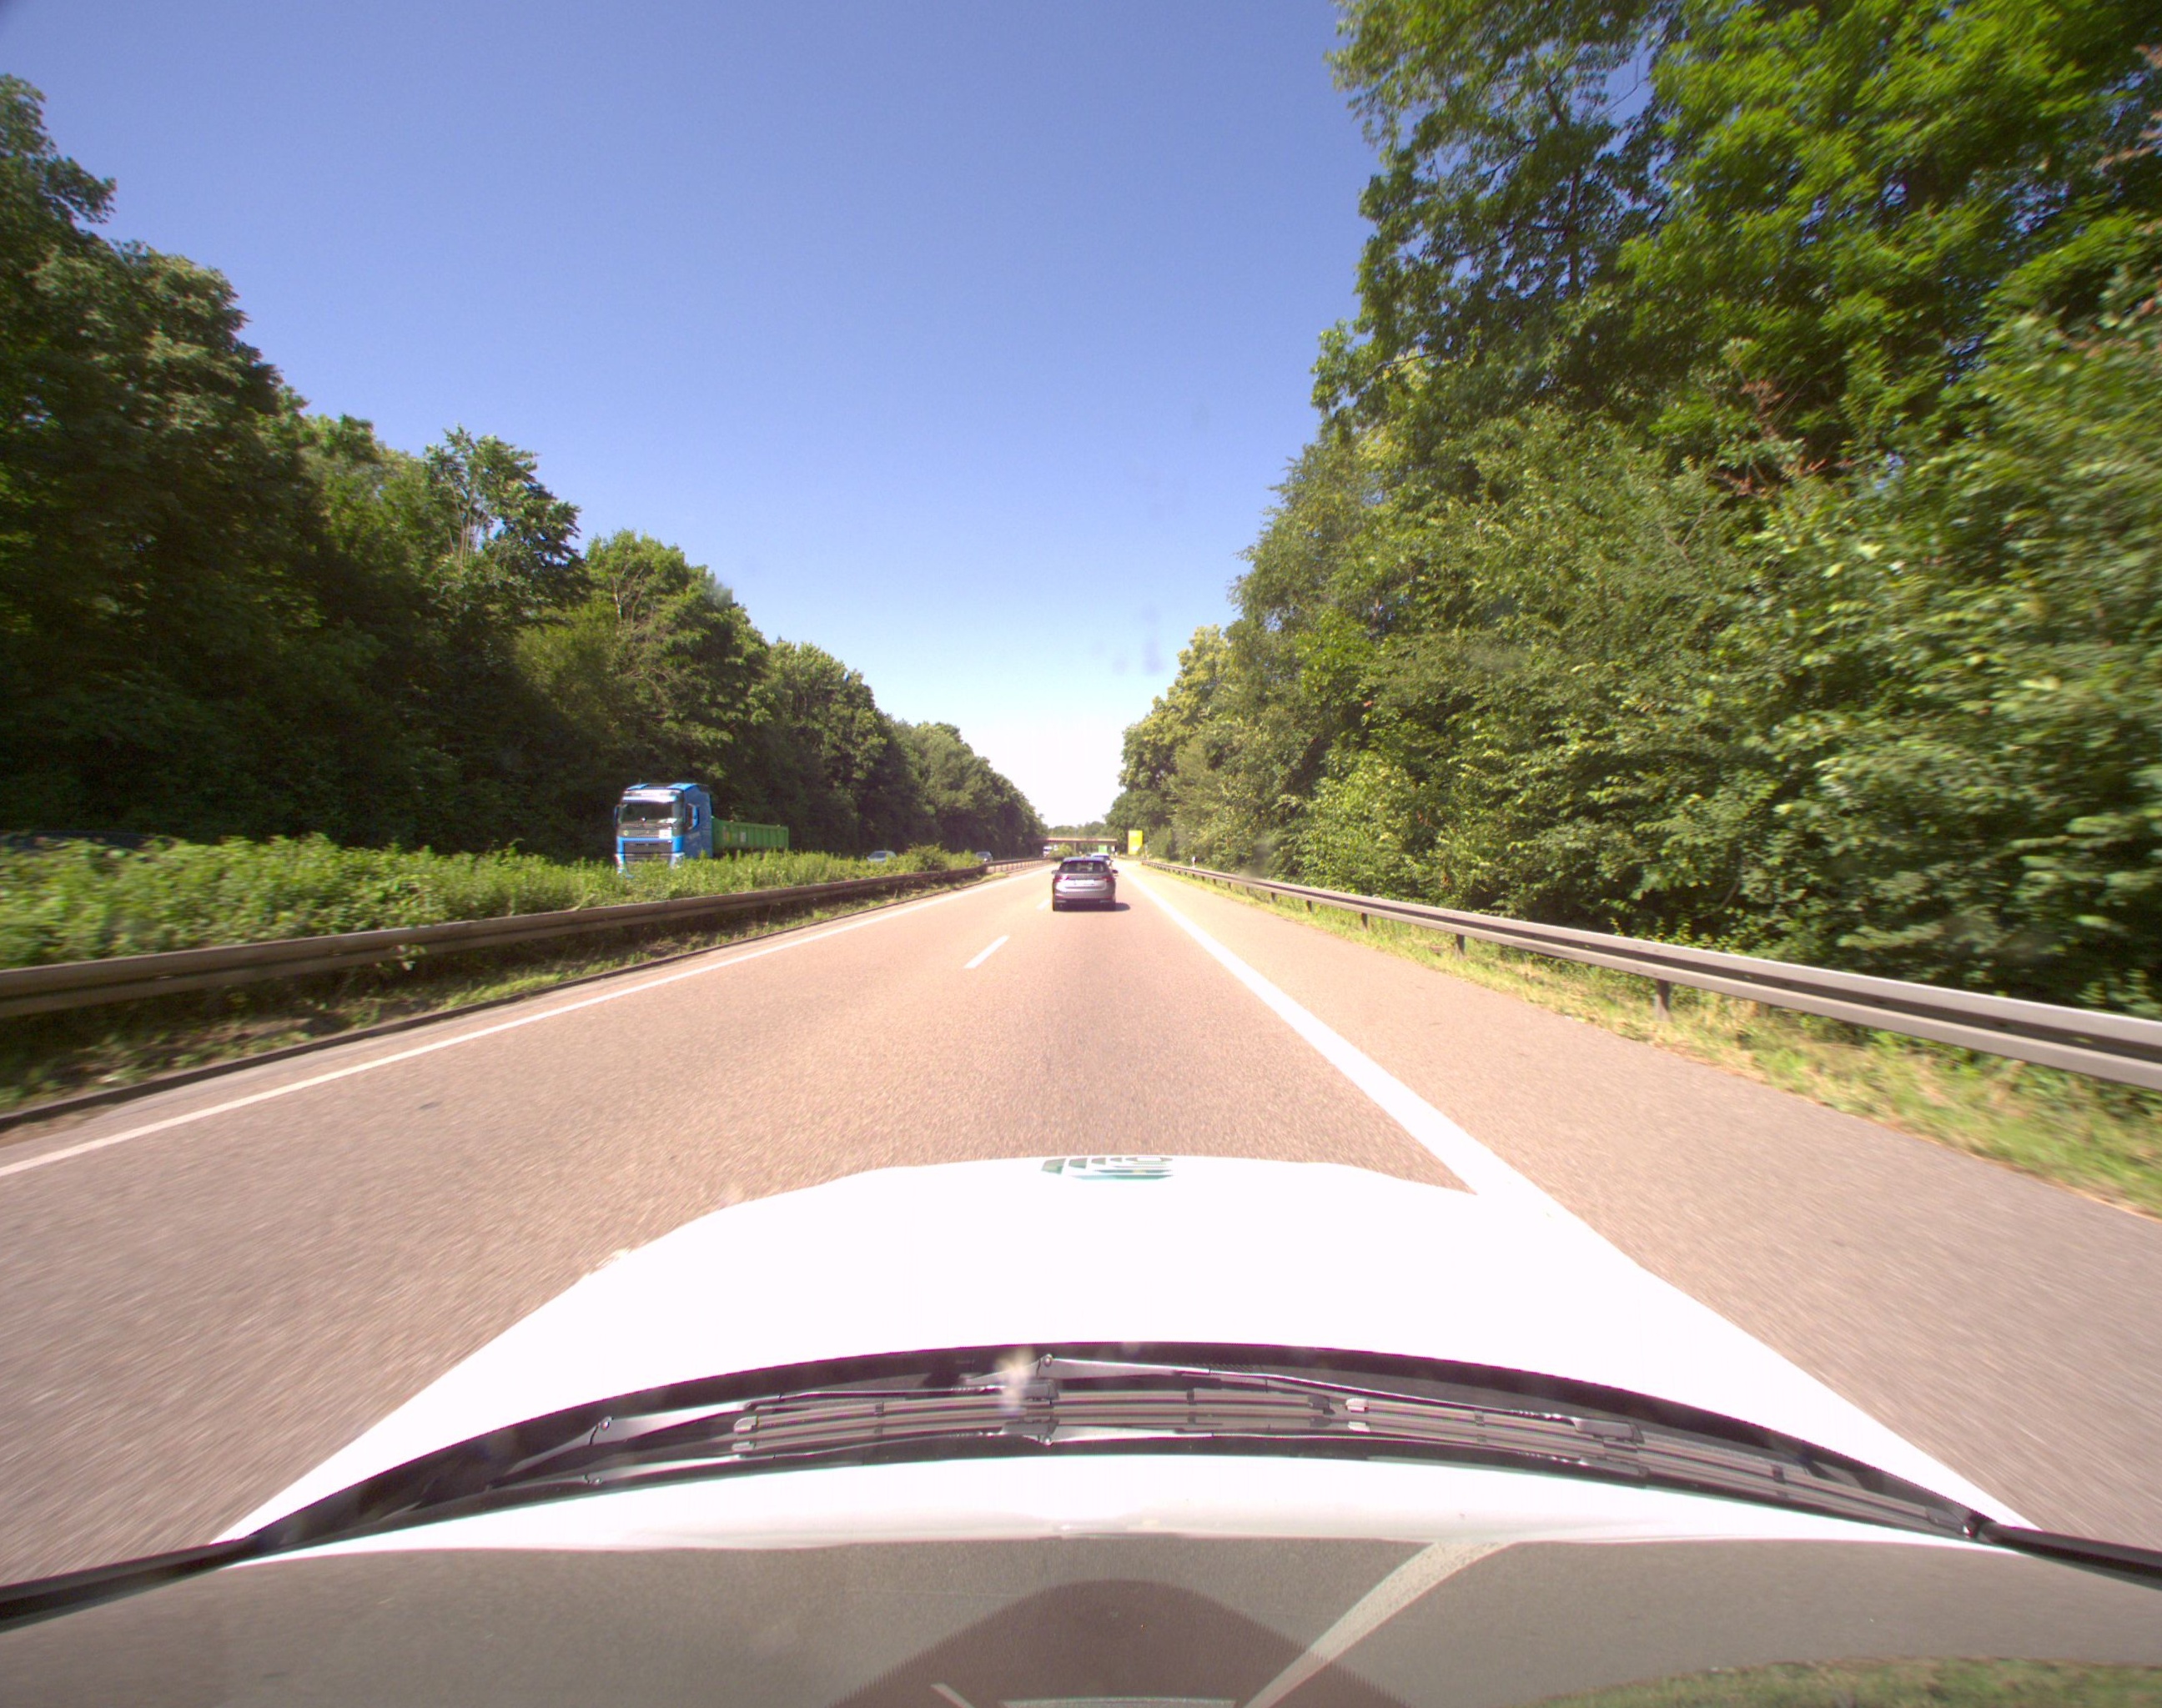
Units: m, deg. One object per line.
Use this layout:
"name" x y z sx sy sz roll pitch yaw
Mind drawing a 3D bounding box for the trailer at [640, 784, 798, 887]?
"trailer" -14.539 -0.677 33.581 2.678 3.712 7.987 0 0 2

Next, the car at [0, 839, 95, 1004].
"car" -11.635 0.723 7.203 1.444 1.662 3.512 -2 1 1

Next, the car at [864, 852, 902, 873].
"car" -14.119 0.604 58.171 1.665 1.473 3.626 0 0 3

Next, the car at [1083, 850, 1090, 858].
"car" 1.557 0.010 225.444 1.986 2.013 4.001 0 0 2

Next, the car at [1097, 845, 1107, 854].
"car" 6.258 -1.216 242.466 2.738 2.654 4.001 0 0 1

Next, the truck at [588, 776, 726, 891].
"truck" -14.668 -0.658 28.504 2.636 3.706 4.002 0 0 2

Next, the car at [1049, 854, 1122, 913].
"car" 0.208 0.750 22.686 1.832 1.472 3.626 0 0 3

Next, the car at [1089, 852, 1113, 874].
"car" 1.407 0.568 55.643 1.516 1.446 3.343 0 0 3

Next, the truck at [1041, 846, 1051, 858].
"truck" -10.344 -0.566 240.763 2.416 3.258 4.002 0 0 2

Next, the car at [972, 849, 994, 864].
"car" -9.987 0.223 83.337 1.665 1.473 3.626 0 0 3
